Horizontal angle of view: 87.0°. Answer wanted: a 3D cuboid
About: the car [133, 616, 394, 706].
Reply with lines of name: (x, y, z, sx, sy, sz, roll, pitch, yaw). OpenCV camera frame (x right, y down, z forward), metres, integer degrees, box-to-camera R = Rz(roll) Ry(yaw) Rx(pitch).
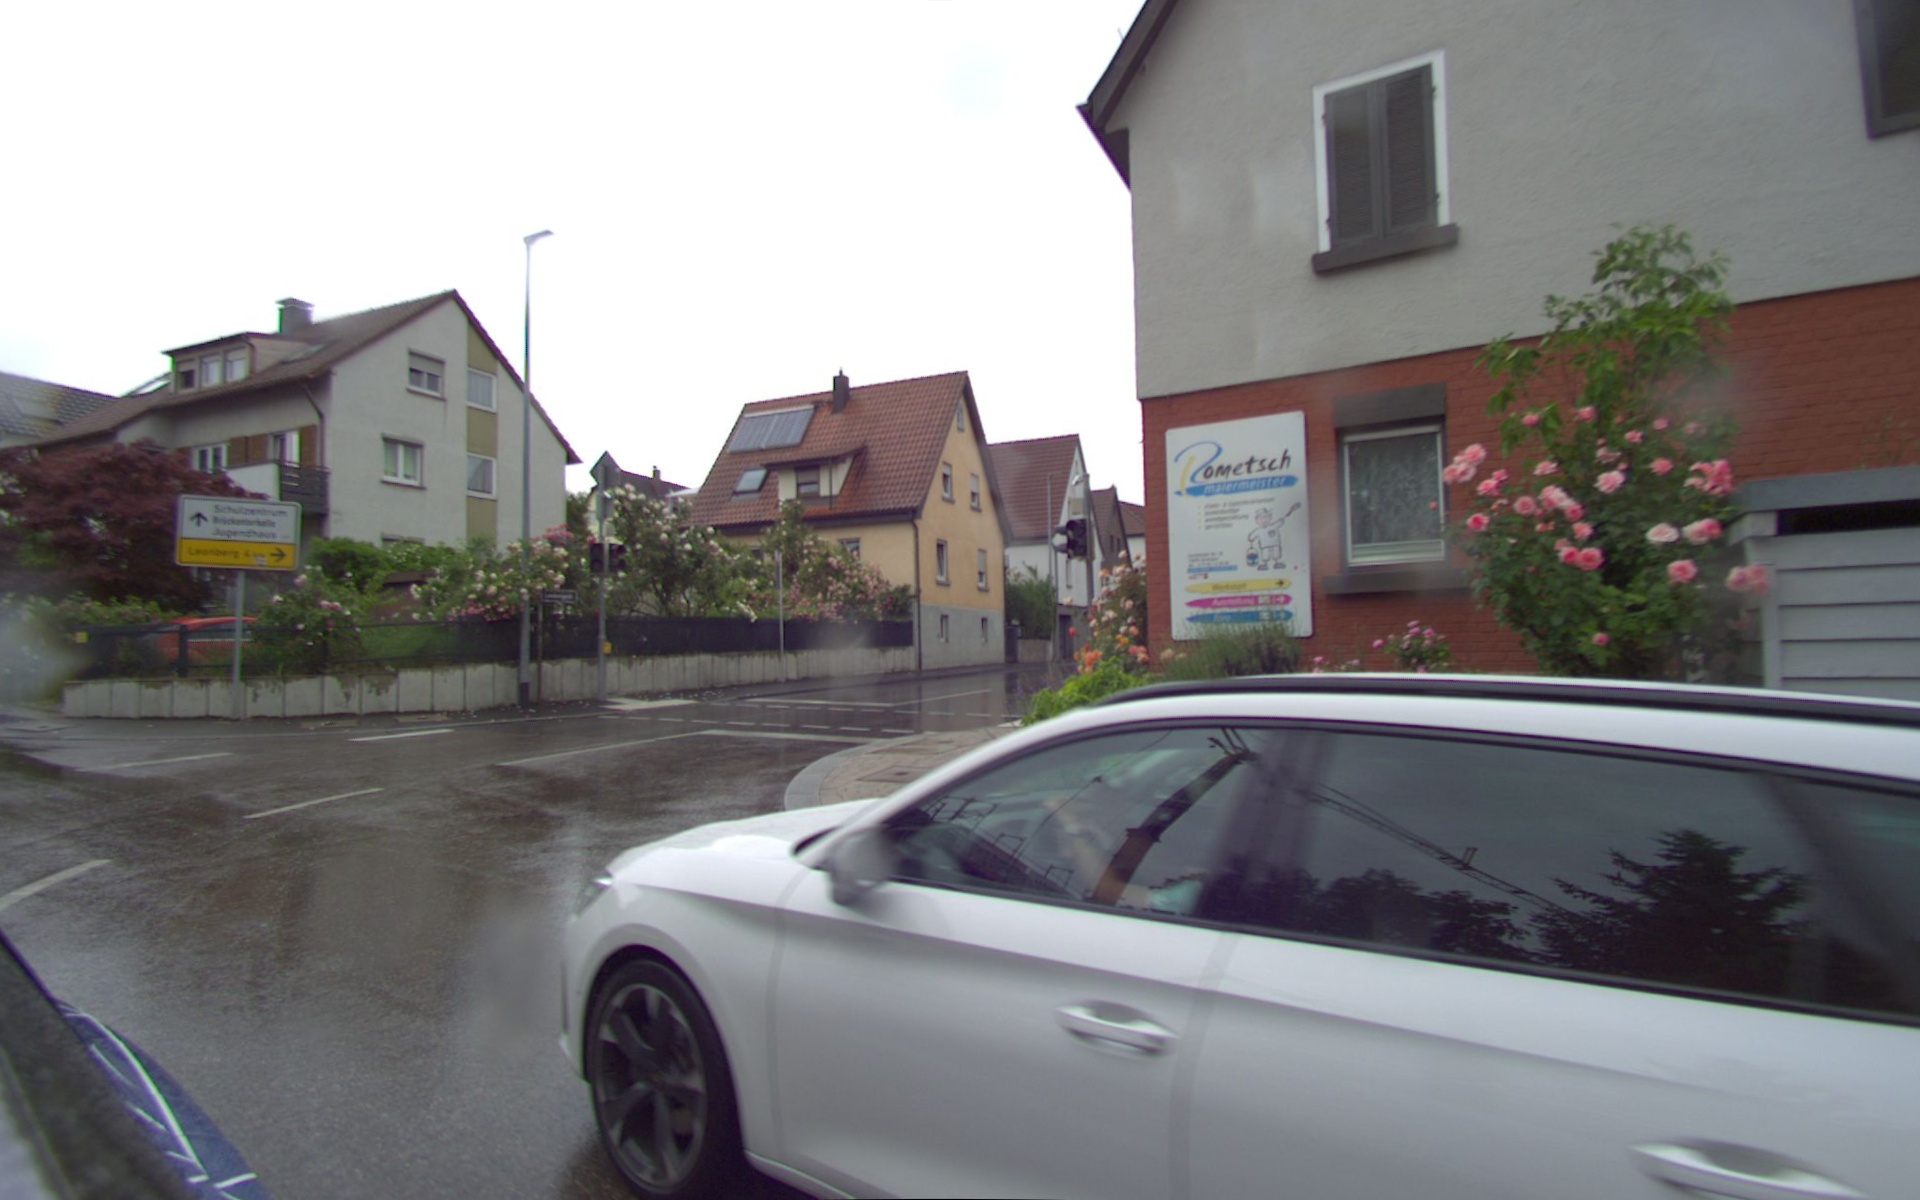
car: (-13.805, 1.208, 20.342, 1.711, 1.611, 3.966, 0, -3, 24)

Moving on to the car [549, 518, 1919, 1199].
car: (0.989, 0.623, 2.266, 4.203, 1.419, 1.572, 2, -1, 37)
